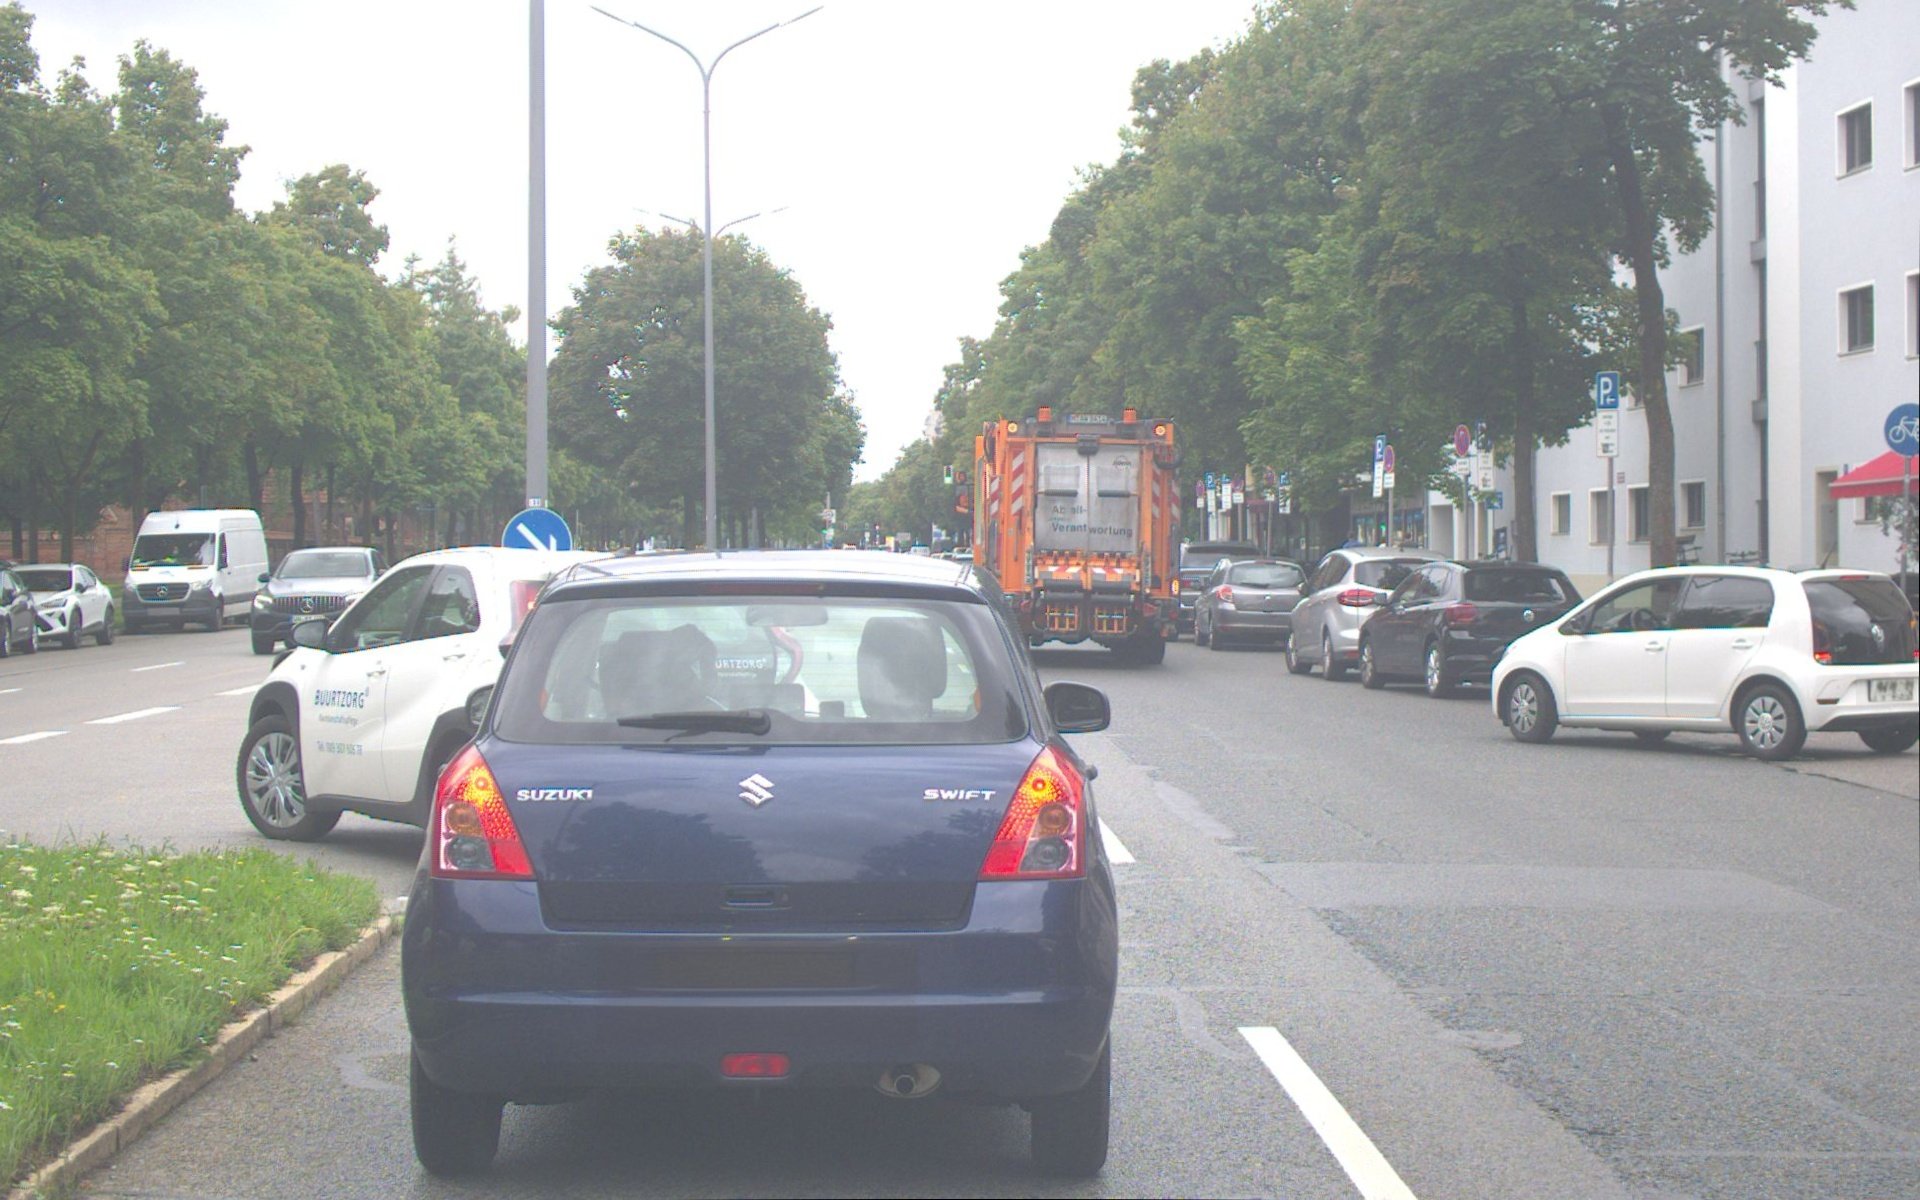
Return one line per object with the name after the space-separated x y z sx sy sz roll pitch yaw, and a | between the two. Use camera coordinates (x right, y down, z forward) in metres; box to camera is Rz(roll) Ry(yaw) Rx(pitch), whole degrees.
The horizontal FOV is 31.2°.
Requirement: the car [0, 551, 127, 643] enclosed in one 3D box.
-16.062 -0.046 60.610 1.821 1.522 4.299 -2 0 -2 | car

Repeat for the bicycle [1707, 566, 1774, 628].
13.584 -0.060 59.878 0.621 1.043 2.195 0 1 -1 | bicycle

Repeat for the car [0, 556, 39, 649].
-16.062 0.051 55.147 1.821 1.442 4.001 -2 1 -6 | car

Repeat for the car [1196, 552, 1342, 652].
4.901 0.004 54.951 1.829 1.517 3.771 0 1 -3 | car

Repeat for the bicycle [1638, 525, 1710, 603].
13.310 -0.673 64.189 0.702 1.402 2.593 -2 1 -1 | bicycle

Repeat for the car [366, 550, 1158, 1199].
-0.458 0.614 9.624 1.753 1.499 4.000 0 1 -1 | car

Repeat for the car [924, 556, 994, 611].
-0.043 -0.477 97.835 1.829 1.517 3.771 0 1 -3 | car

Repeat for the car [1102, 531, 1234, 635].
3.590 -0.323 60.033 1.829 1.740 4.509 0 1 -3 | car

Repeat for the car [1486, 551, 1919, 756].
5.970 0.364 27.038 1.687 1.485 3.434 -1 1 -36 | car

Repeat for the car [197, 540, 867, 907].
-2.166 0.485 16.538 1.821 1.548 3.721 -1 1 -32 | car

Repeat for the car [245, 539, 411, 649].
-9.756 -0.129 53.333 1.821 1.584 4.502 0 1 -1 | car

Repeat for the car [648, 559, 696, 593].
-12.541 -1.058 149.824 1.815 1.443 4.783 -1 1 -2 | car

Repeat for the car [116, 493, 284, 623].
-16.430 -0.950 74.728 2.139 2.634 7.106 -2 1 -1 | car

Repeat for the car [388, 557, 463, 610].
-17.034 -0.542 109.709 1.886 1.532 4.315 -3 1 -3 | car

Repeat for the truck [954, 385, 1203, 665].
1.489 -1.068 50.414 3.041 3.545 13.675 0 1 -1 | truck

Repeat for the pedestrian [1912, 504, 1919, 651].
13.043 -0.293 44.939 0.868 1.922 0.761 0 1 -17 | pedestrian

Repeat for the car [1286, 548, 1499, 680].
5.194 0.129 41.866 1.829 1.517 4.524 0 1 -3 | car

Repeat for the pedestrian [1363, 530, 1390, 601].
10.216 -0.854 84.326 0.499 1.727 0.733 -2 1 -1 | pedestrian

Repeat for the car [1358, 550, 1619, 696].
5.610 0.206 36.930 1.829 1.468 3.889 0 1 -6 | car
